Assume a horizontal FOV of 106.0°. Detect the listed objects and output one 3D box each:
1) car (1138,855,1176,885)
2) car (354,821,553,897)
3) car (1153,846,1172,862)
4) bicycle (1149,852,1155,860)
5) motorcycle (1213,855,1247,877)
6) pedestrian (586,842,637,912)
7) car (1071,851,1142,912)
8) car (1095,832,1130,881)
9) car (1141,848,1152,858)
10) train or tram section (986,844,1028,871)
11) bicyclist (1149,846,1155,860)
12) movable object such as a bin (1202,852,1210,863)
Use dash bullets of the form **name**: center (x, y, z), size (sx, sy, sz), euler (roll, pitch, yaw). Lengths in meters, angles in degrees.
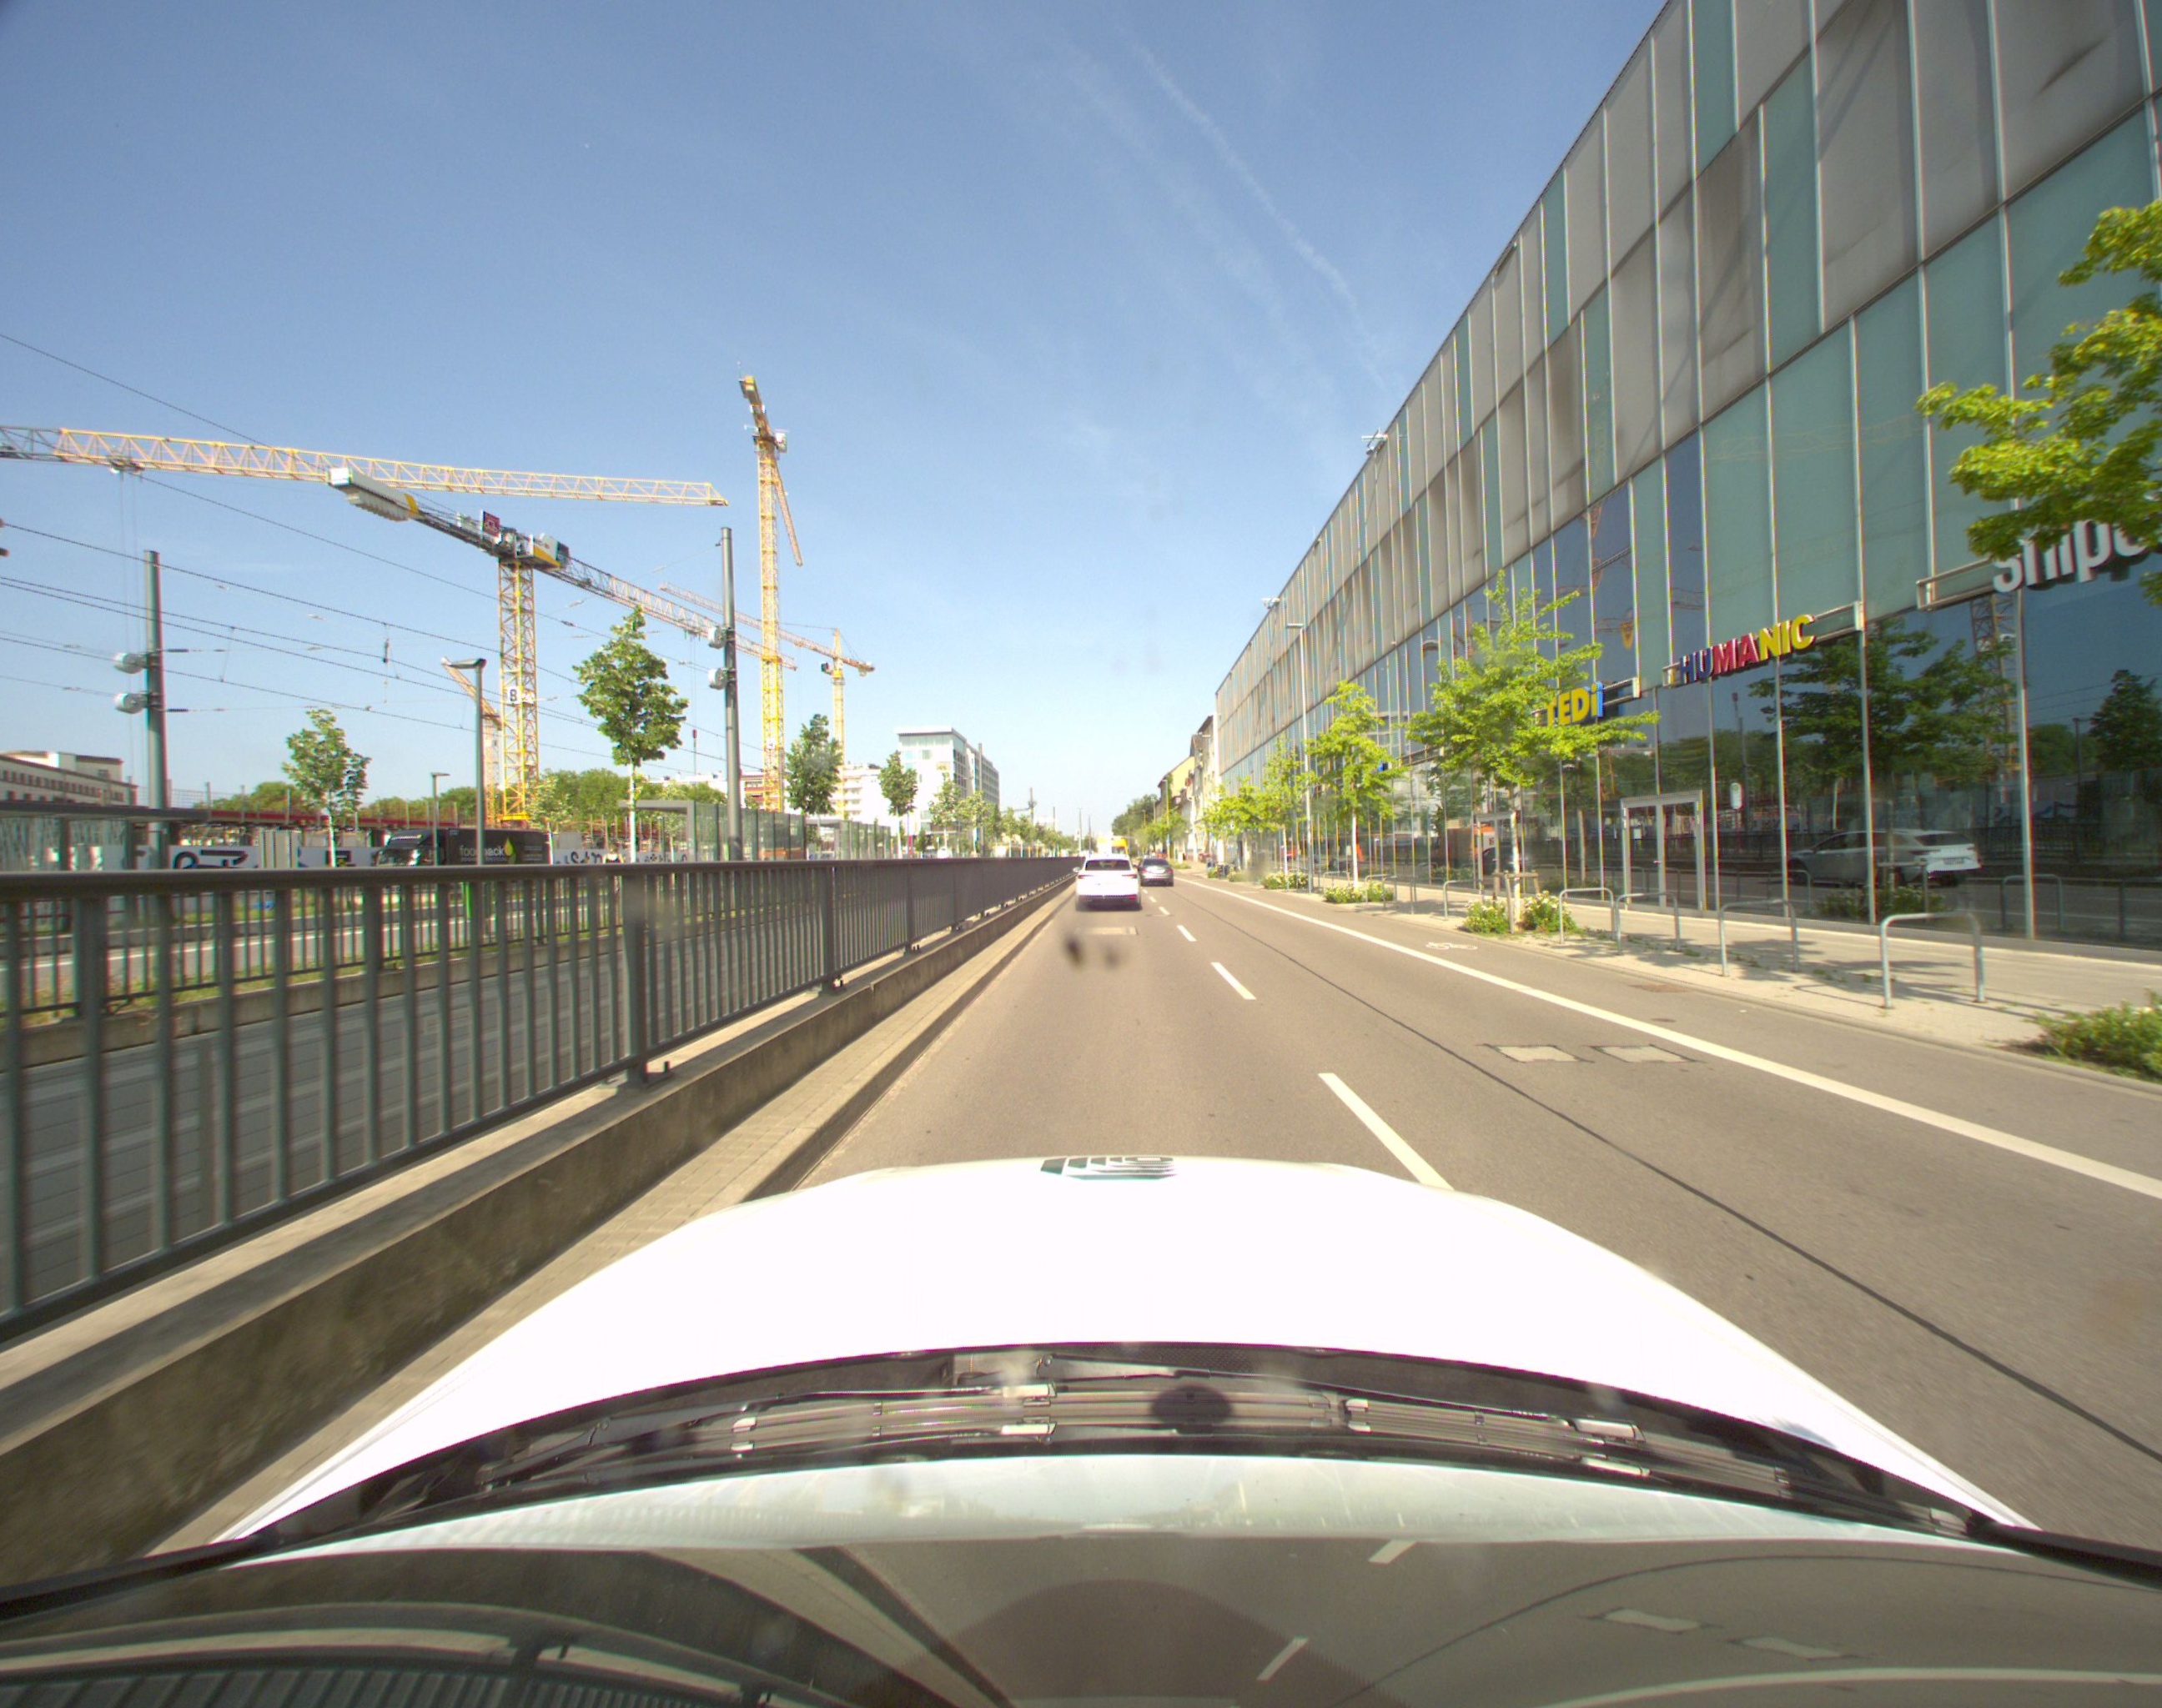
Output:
- **car**: center (3.818, 0.781, 41.552), size (1.753, 1.436, 4.118), euler (0, 0, 2)
- **car**: center (-32.344, 0.226, 42.700), size (3.042, 3.513, 9.237), euler (-1, 0, 2)
- **car**: center (10.675, -0.032, 106.680), size (2.055, 2.013, 4.590), euler (-2, 1, 2)
- **bicycle**: center (8.089, 0.219, 92.750), size (0.652, 0.938, 1.519), euler (-1, 0, 4)
- **motorcycle**: center (9.572, 0.764, 52.385), size (1.968, 1.349, 0.865), euler (-2, 0, -9)
- **pedestrian**: center (-11.121, 0.532, 19.307), size (0.733, 1.619, 0.711), euler (-1, 0, 1)
- **car**: center (0.760, 0.736, 23.832), size (1.862, 1.574, 4.003), euler (-2, 0, 2)
- **car**: center (1.966, 0.058, 51.040), size (2.012, 2.795, 5.405), euler (-2, 2, 2)
- **car**: center (12.091, -0.139, 150.246), size (1.806, 1.812, 3.837), euler (-1, 0, 2)
- **train or tram section**: center (-10.874, 0.531, 122.306), size (2.892, 3.676, 18.162), euler (0, 0, 5)
- **bicyclist**: center (8.064, -0.107, 92.594), size (0.636, 1.577, 0.772), euler (-1, 0, 4)
- **movable object such as a bin**: center (13.631, 0.420, 88.745), size (0.778, 1.172, 0.808), euler (-1, 2, 1)
